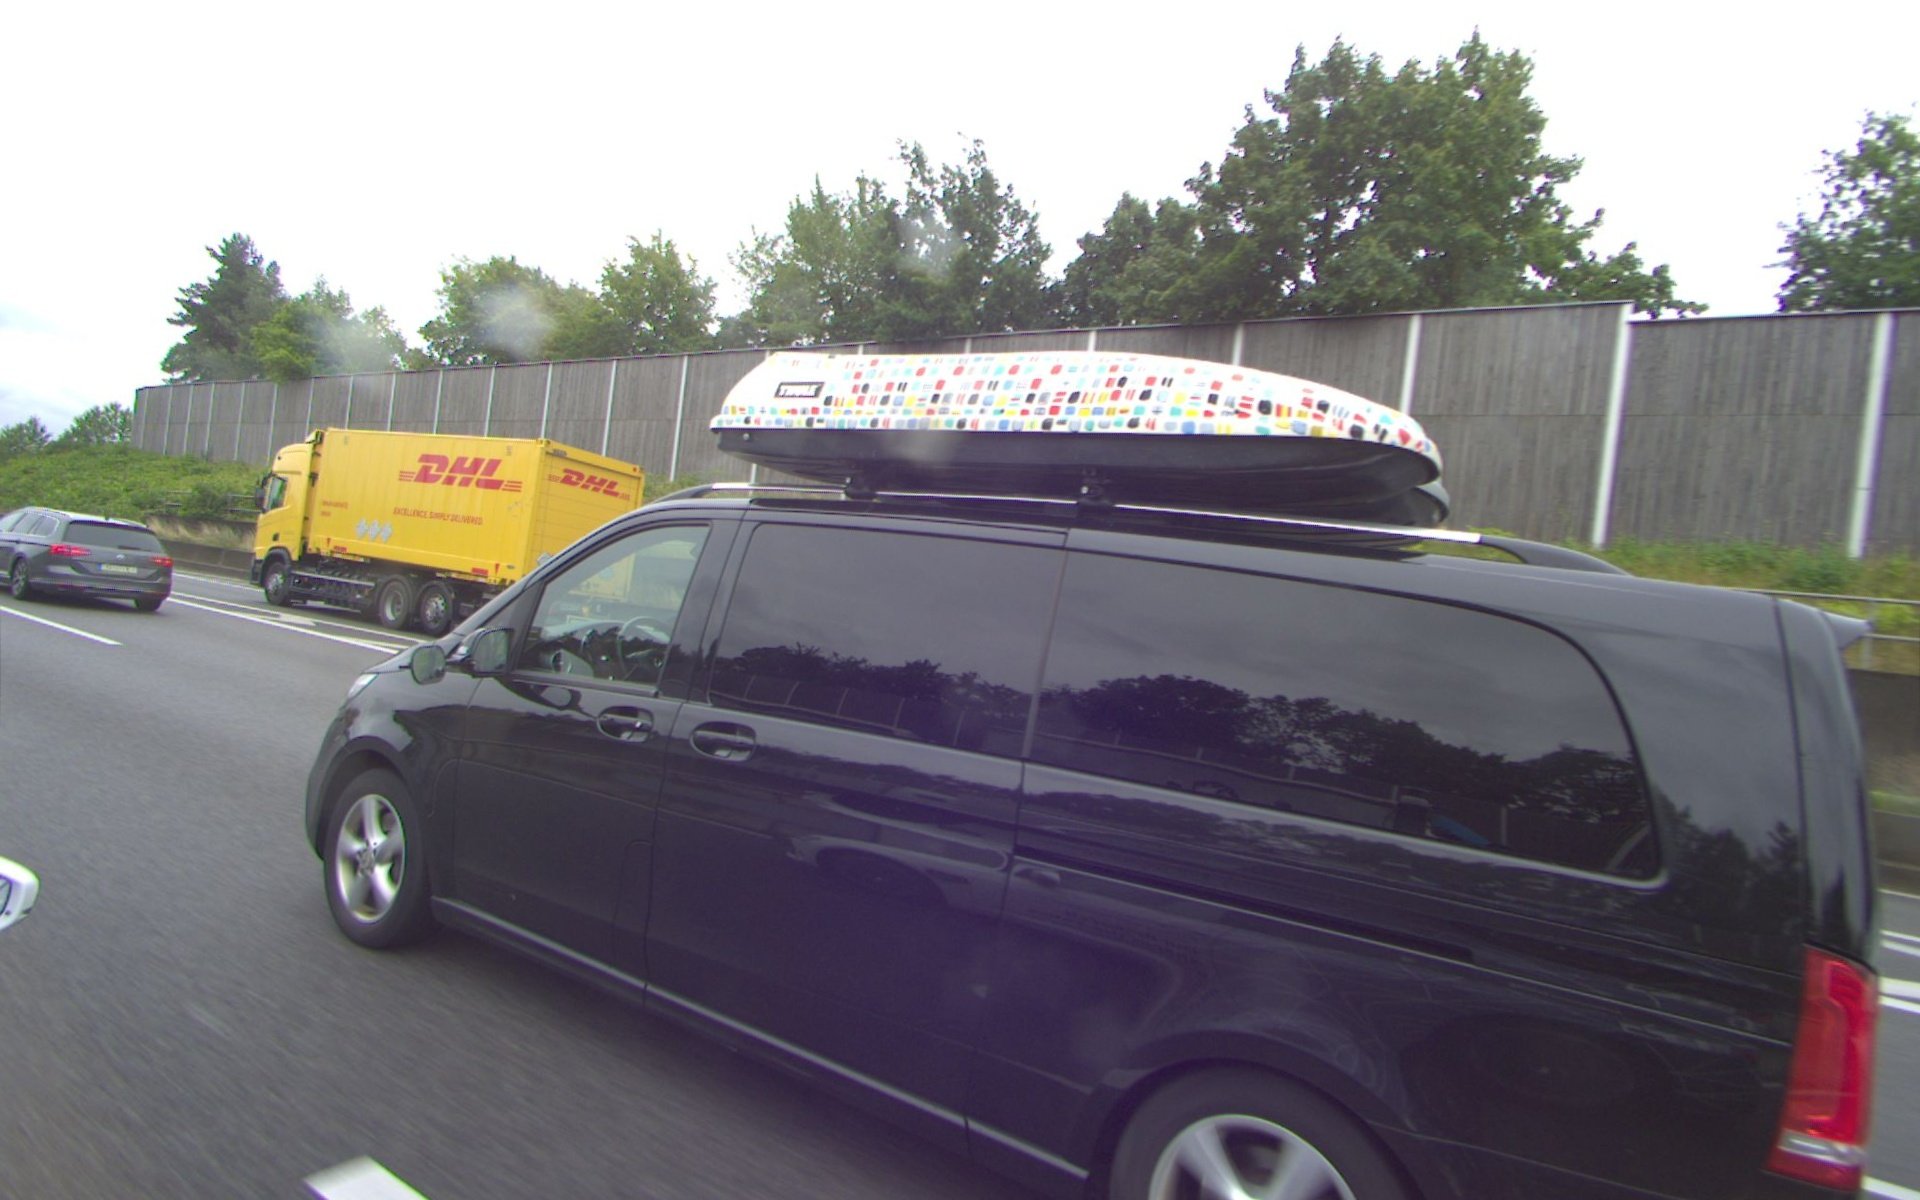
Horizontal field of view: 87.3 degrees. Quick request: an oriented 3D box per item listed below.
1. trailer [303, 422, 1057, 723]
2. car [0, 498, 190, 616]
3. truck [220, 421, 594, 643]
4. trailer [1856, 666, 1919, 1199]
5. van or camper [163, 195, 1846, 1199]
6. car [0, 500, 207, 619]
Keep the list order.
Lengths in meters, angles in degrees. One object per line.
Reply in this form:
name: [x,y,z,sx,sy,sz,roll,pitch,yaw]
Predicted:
trailer: [-6.373,-0.980,18.848,16.406,3.998,2.657,6,-2,31]
car: [-14.747,-0.777,16.574,4.396,1.473,1.667,6,-2,31]
truck: [-12.611,-1.659,22.556,9.170,4.003,2.692,6,-2,31]
trailer: [5.650,0.903,0.320,7.386,2.672,2.727,7,-2,32]
van or camper: [-0.604,0.322,3.879,5.585,2.296,1.894,6,-2,32]
car: [-15.038,-0.787,16.851,5.200,1.443,1.944,7,-2,31]
